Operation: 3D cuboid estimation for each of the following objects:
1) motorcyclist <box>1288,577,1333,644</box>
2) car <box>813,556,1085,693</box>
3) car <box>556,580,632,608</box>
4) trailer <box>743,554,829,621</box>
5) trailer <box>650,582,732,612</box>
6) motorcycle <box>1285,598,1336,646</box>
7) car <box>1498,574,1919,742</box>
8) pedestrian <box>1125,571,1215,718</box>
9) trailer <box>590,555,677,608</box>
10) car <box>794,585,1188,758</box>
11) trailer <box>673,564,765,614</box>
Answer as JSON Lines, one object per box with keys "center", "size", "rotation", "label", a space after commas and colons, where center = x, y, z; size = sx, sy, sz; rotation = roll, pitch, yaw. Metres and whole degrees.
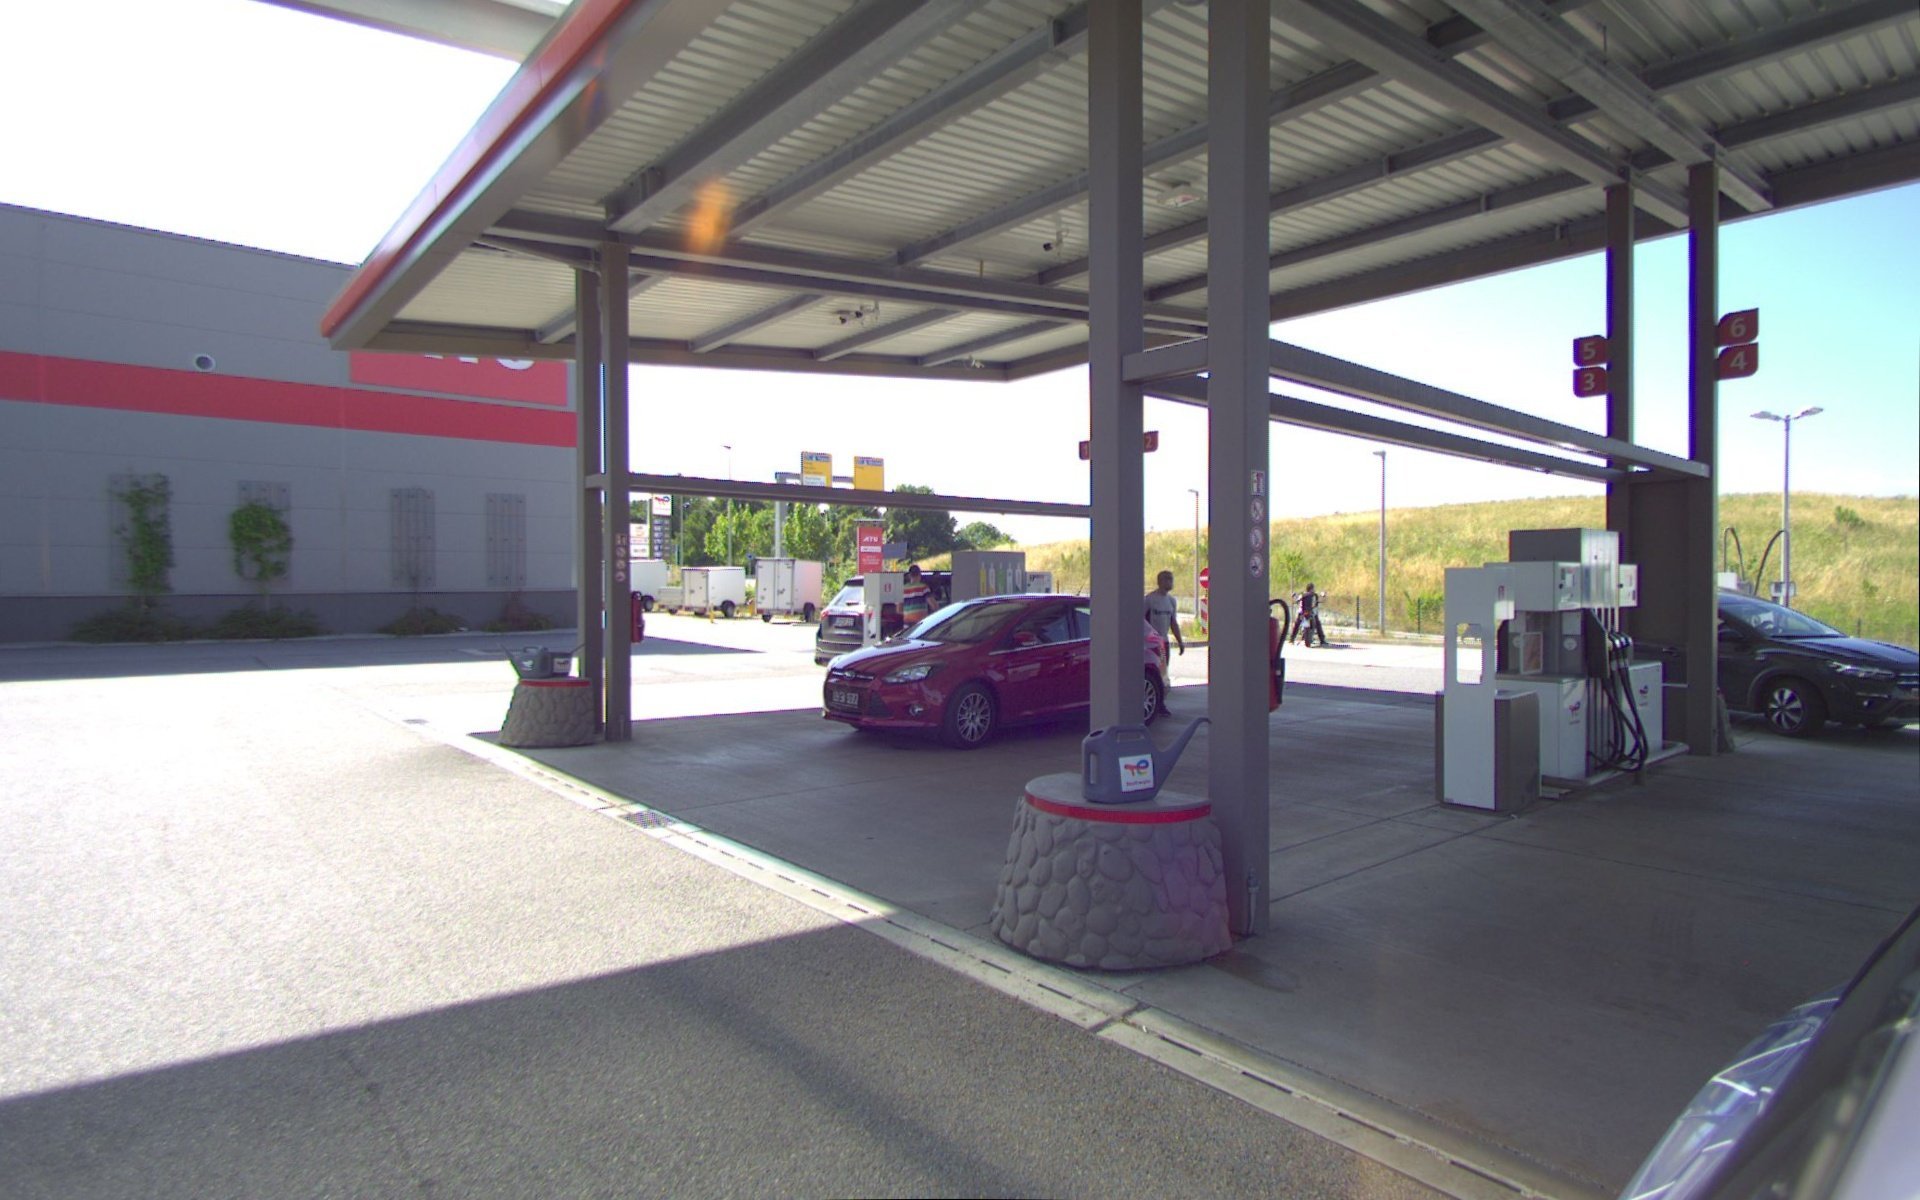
{"center": [9.151, 0.248, 26.413], "size": [1.023, 1.709, 1.090], "rotation": [1, 1, 24], "label": "motorcyclist"}
{"center": [0.003, 0.331, 16.422], "size": [2.021, 1.874, 4.737], "rotation": [1, 0, 35], "label": "car"}
{"center": [-17.980, -0.324, 49.899], "size": [1.658, 1.334, 3.817], "rotation": [1, 1, 15], "label": "car"}
{"center": [-6.676, -0.500, 39.277], "size": [1.969, 2.457, 3.987], "rotation": [1, 1, 11], "label": "trailer"}
{"center": [-11.965, -0.154, 45.185], "size": [1.561, 1.297, 3.688], "rotation": [1, 1, 24], "label": "trailer"}
{"center": [9.182, 0.545, 26.443], "size": [1.034, 1.119, 2.396], "rotation": [1, 2, 24], "label": "motorcycle"}
{"center": [9.282, 0.544, 12.504], "size": [1.707, 1.665, 4.642], "rotation": [0, 1, -21], "label": "car"}
{"center": [2.562, 0.514, 12.413], "size": [0.688, 1.724, 0.930], "rotation": [0, 0, -19], "label": "pedestrian"}
{"center": [-15.813, -0.891, 49.194], "size": [1.976, 2.457, 3.972], "rotation": [1, 1, 21], "label": "trailer"}
{"center": [0.472, 0.599, 10.735], "size": [4.159, 1.487, 1.701], "rotation": [0, 1, -42], "label": "car"}
{"center": [-10.280, -0.479, 43.417], "size": [1.783, 2.039, 3.967], "rotation": [1, 1, 24], "label": "trailer"}
